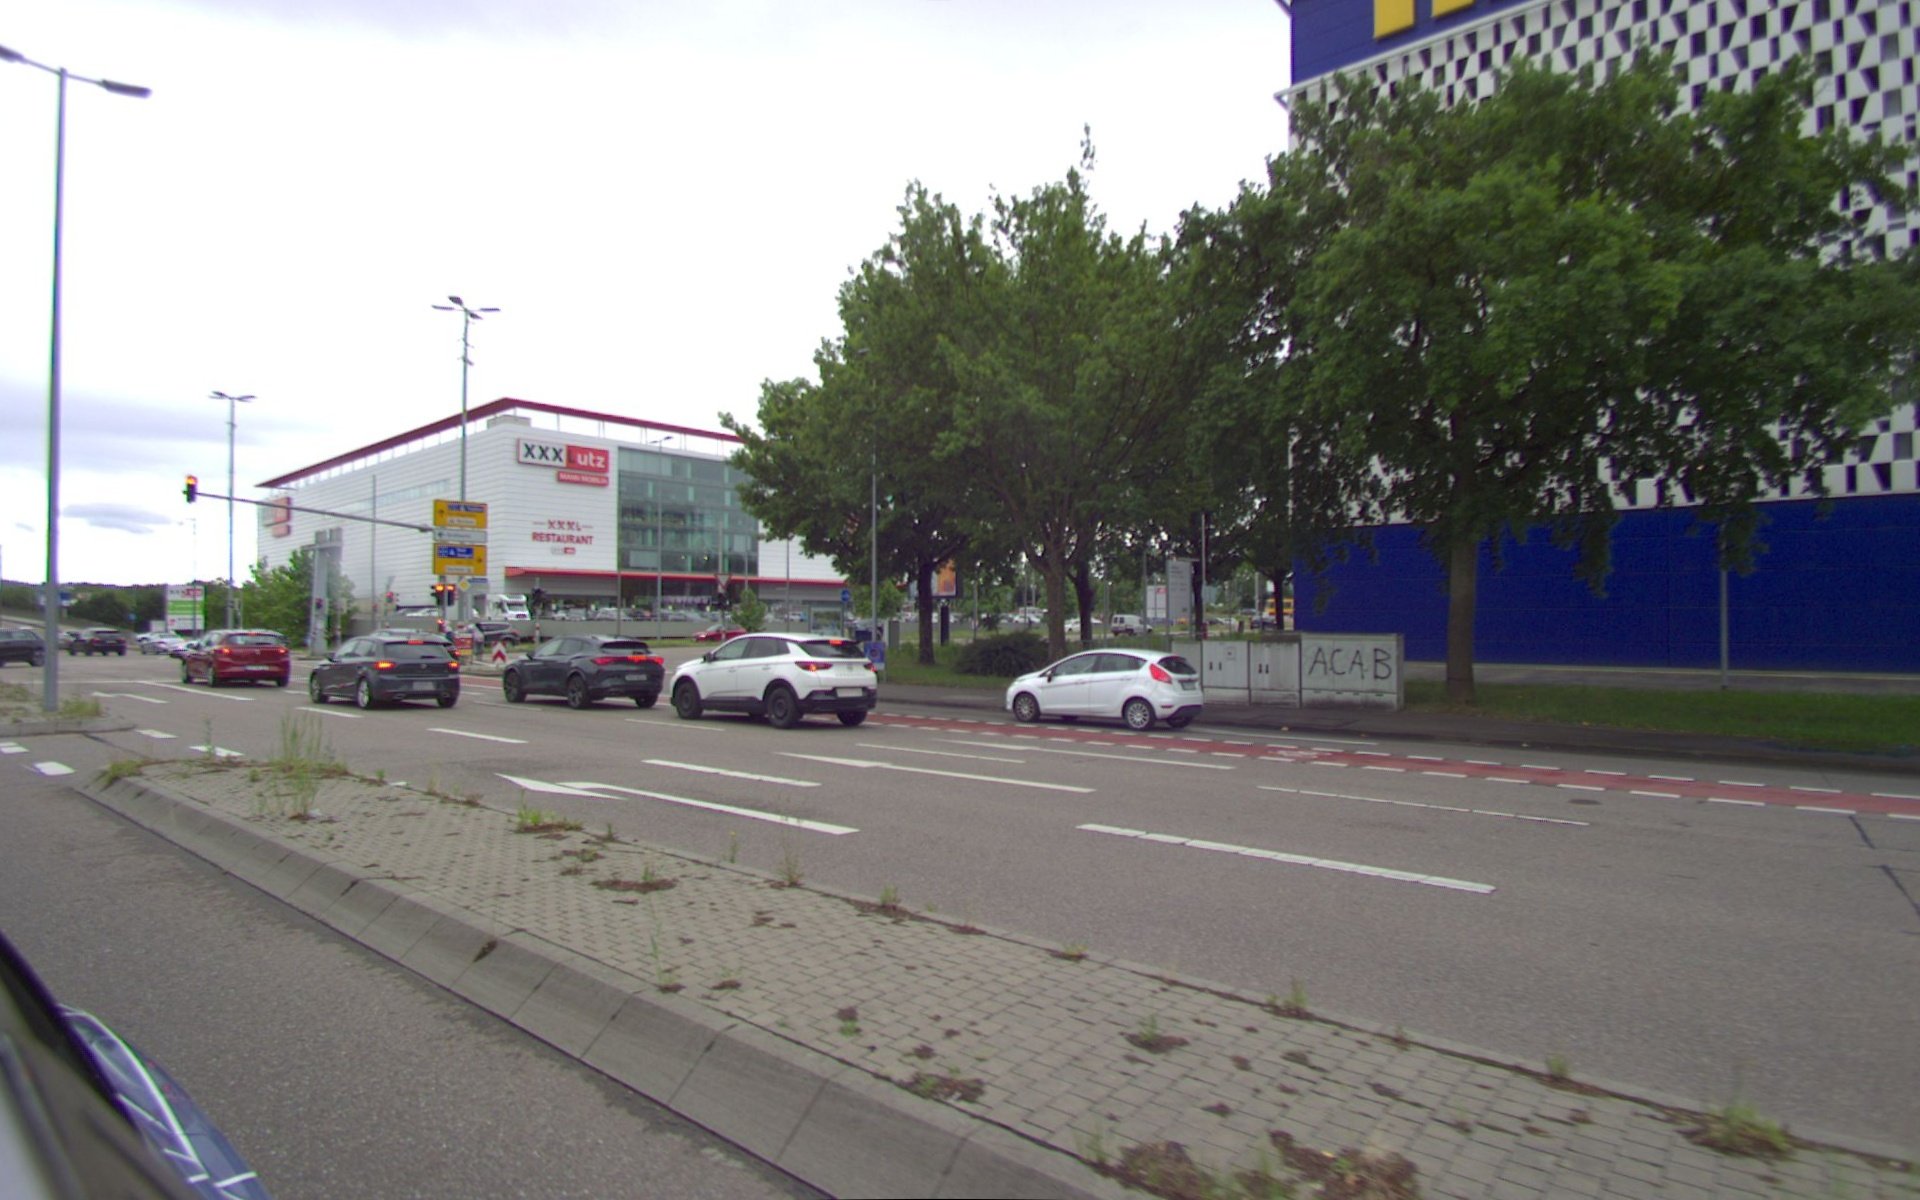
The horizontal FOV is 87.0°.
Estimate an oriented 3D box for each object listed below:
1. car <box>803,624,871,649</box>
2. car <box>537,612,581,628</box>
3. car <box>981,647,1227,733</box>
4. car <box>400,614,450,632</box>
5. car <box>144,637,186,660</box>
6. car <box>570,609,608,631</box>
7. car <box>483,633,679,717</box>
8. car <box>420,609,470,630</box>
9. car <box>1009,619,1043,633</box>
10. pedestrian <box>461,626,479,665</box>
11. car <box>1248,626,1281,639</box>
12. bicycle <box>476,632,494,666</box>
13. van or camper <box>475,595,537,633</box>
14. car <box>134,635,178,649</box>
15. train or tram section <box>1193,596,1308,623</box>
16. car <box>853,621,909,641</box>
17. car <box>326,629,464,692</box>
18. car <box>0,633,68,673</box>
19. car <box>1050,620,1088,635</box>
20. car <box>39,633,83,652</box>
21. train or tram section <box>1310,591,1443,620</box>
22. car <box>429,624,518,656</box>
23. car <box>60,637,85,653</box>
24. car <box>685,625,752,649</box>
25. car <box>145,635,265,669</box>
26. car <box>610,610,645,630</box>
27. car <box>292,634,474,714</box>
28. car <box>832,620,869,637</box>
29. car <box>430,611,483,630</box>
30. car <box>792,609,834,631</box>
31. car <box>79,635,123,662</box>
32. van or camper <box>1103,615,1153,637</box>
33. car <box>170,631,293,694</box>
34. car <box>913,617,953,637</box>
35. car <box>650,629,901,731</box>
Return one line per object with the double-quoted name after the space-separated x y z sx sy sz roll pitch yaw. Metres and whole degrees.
-7.628 2.257 63.059 1.702 1.498 4.059 -1 -3 43 "car"
-44.575 2.200 112.462 1.777 1.688 4.199 -4 -3 43 "car"
2.662 1.643 19.305 4.326 1.473 1.839 -2 -4 39 "car"
-55.390 2.386 104.776 1.777 1.688 4.199 -4 -3 43 "car"
-53.470 3.256 68.031 3.926 1.382 1.671 -4 -3 43 "car"
-36.176 1.909 98.669 3.866 1.962 1.844 -4 -3 41 "car"
-8.260 1.545 21.882 4.593 1.556 1.862 0 -3 39 "car"
-51.300 1.936 100.807 2.001 2.029 3.941 -4 -3 45 "car"
8.217 3.249 126.772 4.001 1.577 1.771 -4 -3 44 "car"
-20.827 1.930 43.009 0.630 1.639 0.694 1 -1 -24 "pedestrian"
32.612 3.474 108.227 1.728 1.382 3.941 -1 -2 44 "car"
-20.315 2.090 43.317 0.587 1.407 1.940 2 -2 -23 "bicycle"
-42.039 1.308 93.577 7.238 3.159 2.676 -4 -3 44 "van or camper"
-98.276 5.145 123.677 4.133 1.622 1.724 0 -3 -42 "car"
59.316 1.982 207.616 23.271 4.875 3.583 -3 -2 41 "train or tram section"
-6.053 2.384 78.322 1.803 1.426 4.158 -4 -3 43 "car"
-16.028 1.684 28.636 4.328 1.650 1.862 -1 -5 39 "car"
-34.862 1.928 36.244 1.749 1.389 4.245 -3 -2 10 "car"
11.455 2.857 106.462 1.803 1.426 4.158 -4 -3 43 "car"
-72.340 3.468 81.425 4.871 1.422 1.794 -3 -4 39 "car"
78.256 1.151 191.270 23.271 4.875 3.583 -3 -2 41 "train or tram section"
-27.544 2.254 57.359 1.803 1.586 4.158 -4 -3 43 "car"
-101.425 5.102 115.672 4.001 1.674 1.834 -4 -3 44 "car"
-16.379 2.486 68.776 1.803 1.426 4.158 -4 -3 43 "car"
-35.488 2.439 47.697 1.795 1.426 4.176 -3 -2 30 "car"
-37.277 2.288 113.573 3.999 2.029 1.972 -4 -3 42 "car"
-11.911 1.473 20.785 4.328 1.473 1.838 -3 -4 40 "car"
-12.521 3.296 115.683 1.890 1.807 3.945 -4 -3 41 "car"
-48.842 2.023 98.189 1.777 1.688 4.199 -4 -3 43 "car"
-14.690 2.002 101.122 3.999 2.029 1.972 -4 -3 42 "car"
-53.911 3.040 63.485 3.926 1.540 1.671 -4 -3 43 "car"
14.141 2.186 84.965 2.000 1.735 4.332 -4 -3 43 "van or camper"
-19.695 1.634 27.316 4.075 1.499 1.717 0 -2 40 "car"
-3.087 3.104 115.133 4.325 2.029 1.972 -4 -3 42 "car"
-3.401 1.415 18.206 4.574 1.607 1.973 -3 -6 41 "car"
